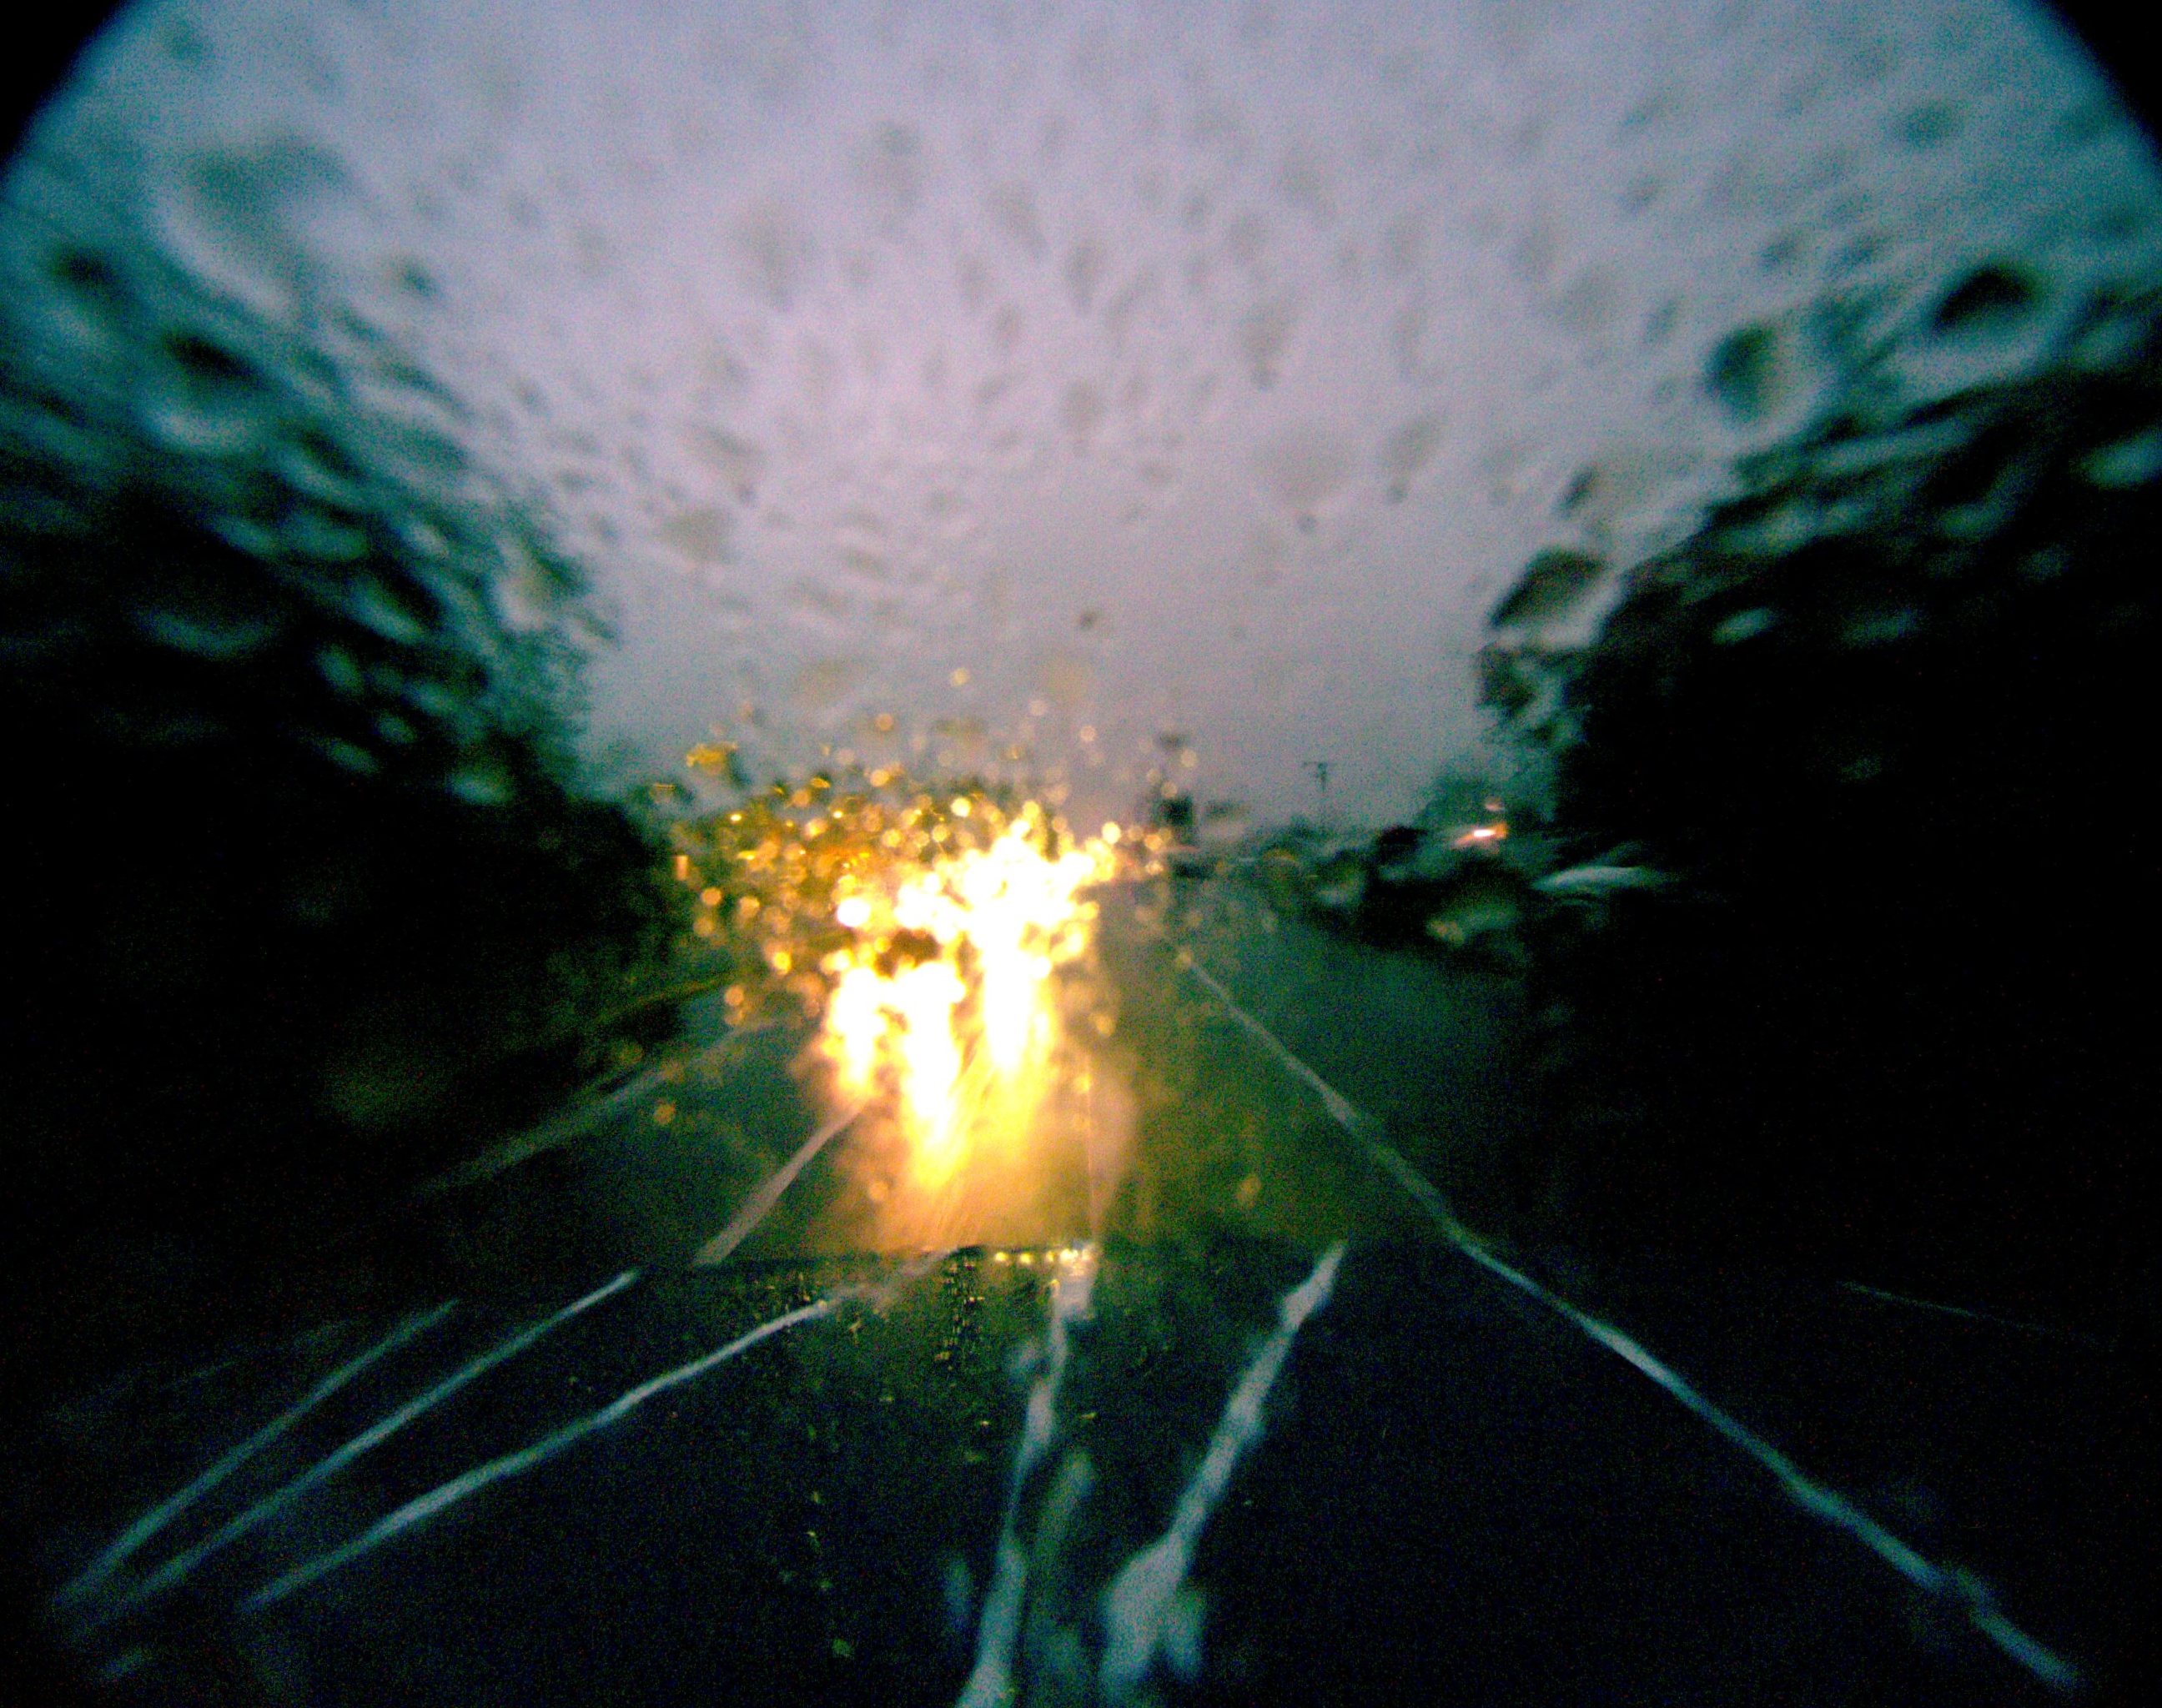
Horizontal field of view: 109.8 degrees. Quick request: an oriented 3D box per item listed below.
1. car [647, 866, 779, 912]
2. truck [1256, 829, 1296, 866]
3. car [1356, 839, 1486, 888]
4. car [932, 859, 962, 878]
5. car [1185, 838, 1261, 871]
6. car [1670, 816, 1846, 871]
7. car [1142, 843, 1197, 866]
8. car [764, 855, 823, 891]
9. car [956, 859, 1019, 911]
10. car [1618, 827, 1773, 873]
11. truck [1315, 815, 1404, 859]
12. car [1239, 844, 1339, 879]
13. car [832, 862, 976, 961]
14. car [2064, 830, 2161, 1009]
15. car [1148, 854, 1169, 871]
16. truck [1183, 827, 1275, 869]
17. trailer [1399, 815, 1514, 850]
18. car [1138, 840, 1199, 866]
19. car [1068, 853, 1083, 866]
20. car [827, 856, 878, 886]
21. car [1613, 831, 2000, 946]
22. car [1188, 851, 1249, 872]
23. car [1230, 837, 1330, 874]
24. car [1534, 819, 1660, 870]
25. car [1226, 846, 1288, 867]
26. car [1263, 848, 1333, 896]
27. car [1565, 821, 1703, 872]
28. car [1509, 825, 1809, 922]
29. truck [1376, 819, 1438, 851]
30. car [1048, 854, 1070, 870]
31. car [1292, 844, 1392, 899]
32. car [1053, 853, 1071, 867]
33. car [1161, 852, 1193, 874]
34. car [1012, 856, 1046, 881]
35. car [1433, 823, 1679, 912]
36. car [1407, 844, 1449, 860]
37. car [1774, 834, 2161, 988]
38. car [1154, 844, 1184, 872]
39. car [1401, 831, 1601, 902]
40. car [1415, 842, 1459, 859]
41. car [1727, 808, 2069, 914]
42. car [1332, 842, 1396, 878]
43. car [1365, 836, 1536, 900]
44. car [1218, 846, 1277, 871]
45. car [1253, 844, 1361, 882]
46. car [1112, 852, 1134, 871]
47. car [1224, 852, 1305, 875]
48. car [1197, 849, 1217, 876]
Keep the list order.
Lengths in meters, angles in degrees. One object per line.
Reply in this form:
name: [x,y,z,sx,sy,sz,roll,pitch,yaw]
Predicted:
car: [-15.201,1.384,31.527,4.491,1.599,2.014,-2,0,-43]
truck: [18.998,-0.599,74.278,2.036,3.434,5.850,0,0,-4]
car: [12.055,0.328,27.117,3.782,1.451,1.776,-3,0,-2]
car: [-10.369,1.084,58.892,1.576,1.388,4.168,-1,0,0]
car: [12.120,0.026,65.263,6.048,2.623,2.195,-2,0,-2]
car: [22.215,-0.319,25.050,3.997,1.567,1.958,-3,0,0]
car: [8.743,0.046,75.246,5.159,2.137,2.058,0,0,0]
car: [-17.581,1.110,46.680,1.998,2.002,4.000,-2,0,0]
car: [-3.119,0.989,26.044,1.569,1.520,4.006,-2,0,1]
car: [22.182,-0.140,27.541,3.997,1.457,1.958,-3,0,0]
truck: [30.945,-1.855,84.503,8.714,4.237,3.004,-4,1,-11]
car: [10.047,0.350,36.947,4.346,1.489,1.995,-2,0,3]
car: [-3.321,1.000,15.151,1.712,1.566,4.464,-2,0,1]
car: [10.089,0.431,5.386,3.868,1.338,1.839,-2,0,0]
car: [7.128,0.802,70.085,1.655,1.411,3.743,-1,-1,1]
truck: [11.949,-0.502,61.515,6.877,3.123,2.334,-2,0,-1]
trailer: [34.881,-2.011,70.588,10.511,2.658,2.217,-3,0,-14]
car: [9.163,-0.072,79.951,6.172,2.616,2.176,-1,0,0]
car: [-0.770,0.719,104.294,1.890,1.618,3.999,-3,0,-2]
car: [-14.630,1.053,48.916,1.998,1.848,4.298,-1,0,0]
car: [10.351,0.454,11.074,3.868,1.397,1.839,-2,0,0]
car: [9.689,0.513,53.681,3.920,1.469,1.810,1,0,0]
car: [10.234,0.061,39.352,4.547,1.667,2.010,-2,0,-4]
car: [21.960,-0.397,32.470,3.997,1.911,1.958,-3,0,0]
car: [13.076,0.207,56.577,4.060,1.369,1.814,-2,0,-3]
car: [7.439,0.583,26.285,1.522,1.534,3.015,-1,0,0]
car: [22.011,-0.276,30.359,3.997,1.797,1.958,-3,0,0]
car: [10.214,0.324,13.673,3.868,1.401,1.944,-3,0,0]
truck: [29.705,-1.743,69.287,4.726,2.681,2.232,-3,0,-14]
car: [-2.276,0.770,77.525,2.016,1.484,3.998,-2,0,-4]
car: [7.435,0.457,22.014,1.686,1.412,3.741,-2,0,2]
car: [-2.276,0.715,90.408,1.890,1.618,4.000,-3,0,1]
car: [6.565,0.610,52.378,1.574,1.314,4.254,0,2,-2]
car: [-3.410,0.926,49.539,2.016,1.484,3.998,-3,0,-4]
car: [9.960,0.280,16.169,4.041,1.545,1.823,-3,0,0]
car: [28.650,-0.136,62.815,2.808,1.192,1.344,-2,0,-3]
car: [10.188,0.524,8.129,3.868,1.338,1.839,-2,0,0]
car: [6.717,0.261,58.236,1.839,2.001,4.484,-2,0,2]
car: [10.236,0.298,18.735,3.868,1.443,1.839,-3,0,0]
car: [28.217,-0.247,60.260,2.808,1.211,1.344,-2,0,-3]
car: [14.430,0.122,13.847,1.872,1.545,4.044,-3,0,1]
car: [14.166,0.291,38.246,1.674,1.667,3.706,-2,0,-2]
car: [10.699,0.391,22.238,4.057,1.640,1.942,-2,0,2]
car: [12.923,0.323,59.176,4.060,1.722,2.024,-2,0,-3]
car: [10.193,0.388,34.480,4.346,1.489,1.825,-2,0,1]
car: [3.503,0.605,63.597,1.607,1.525,3.999,0,0,0]
car: [11.735,0.602,48.710,4.768,1.429,1.782,-1,0,-2]
car: [8.048,0.546,48.630,1.174,1.634,2.872,-1,0,9]
